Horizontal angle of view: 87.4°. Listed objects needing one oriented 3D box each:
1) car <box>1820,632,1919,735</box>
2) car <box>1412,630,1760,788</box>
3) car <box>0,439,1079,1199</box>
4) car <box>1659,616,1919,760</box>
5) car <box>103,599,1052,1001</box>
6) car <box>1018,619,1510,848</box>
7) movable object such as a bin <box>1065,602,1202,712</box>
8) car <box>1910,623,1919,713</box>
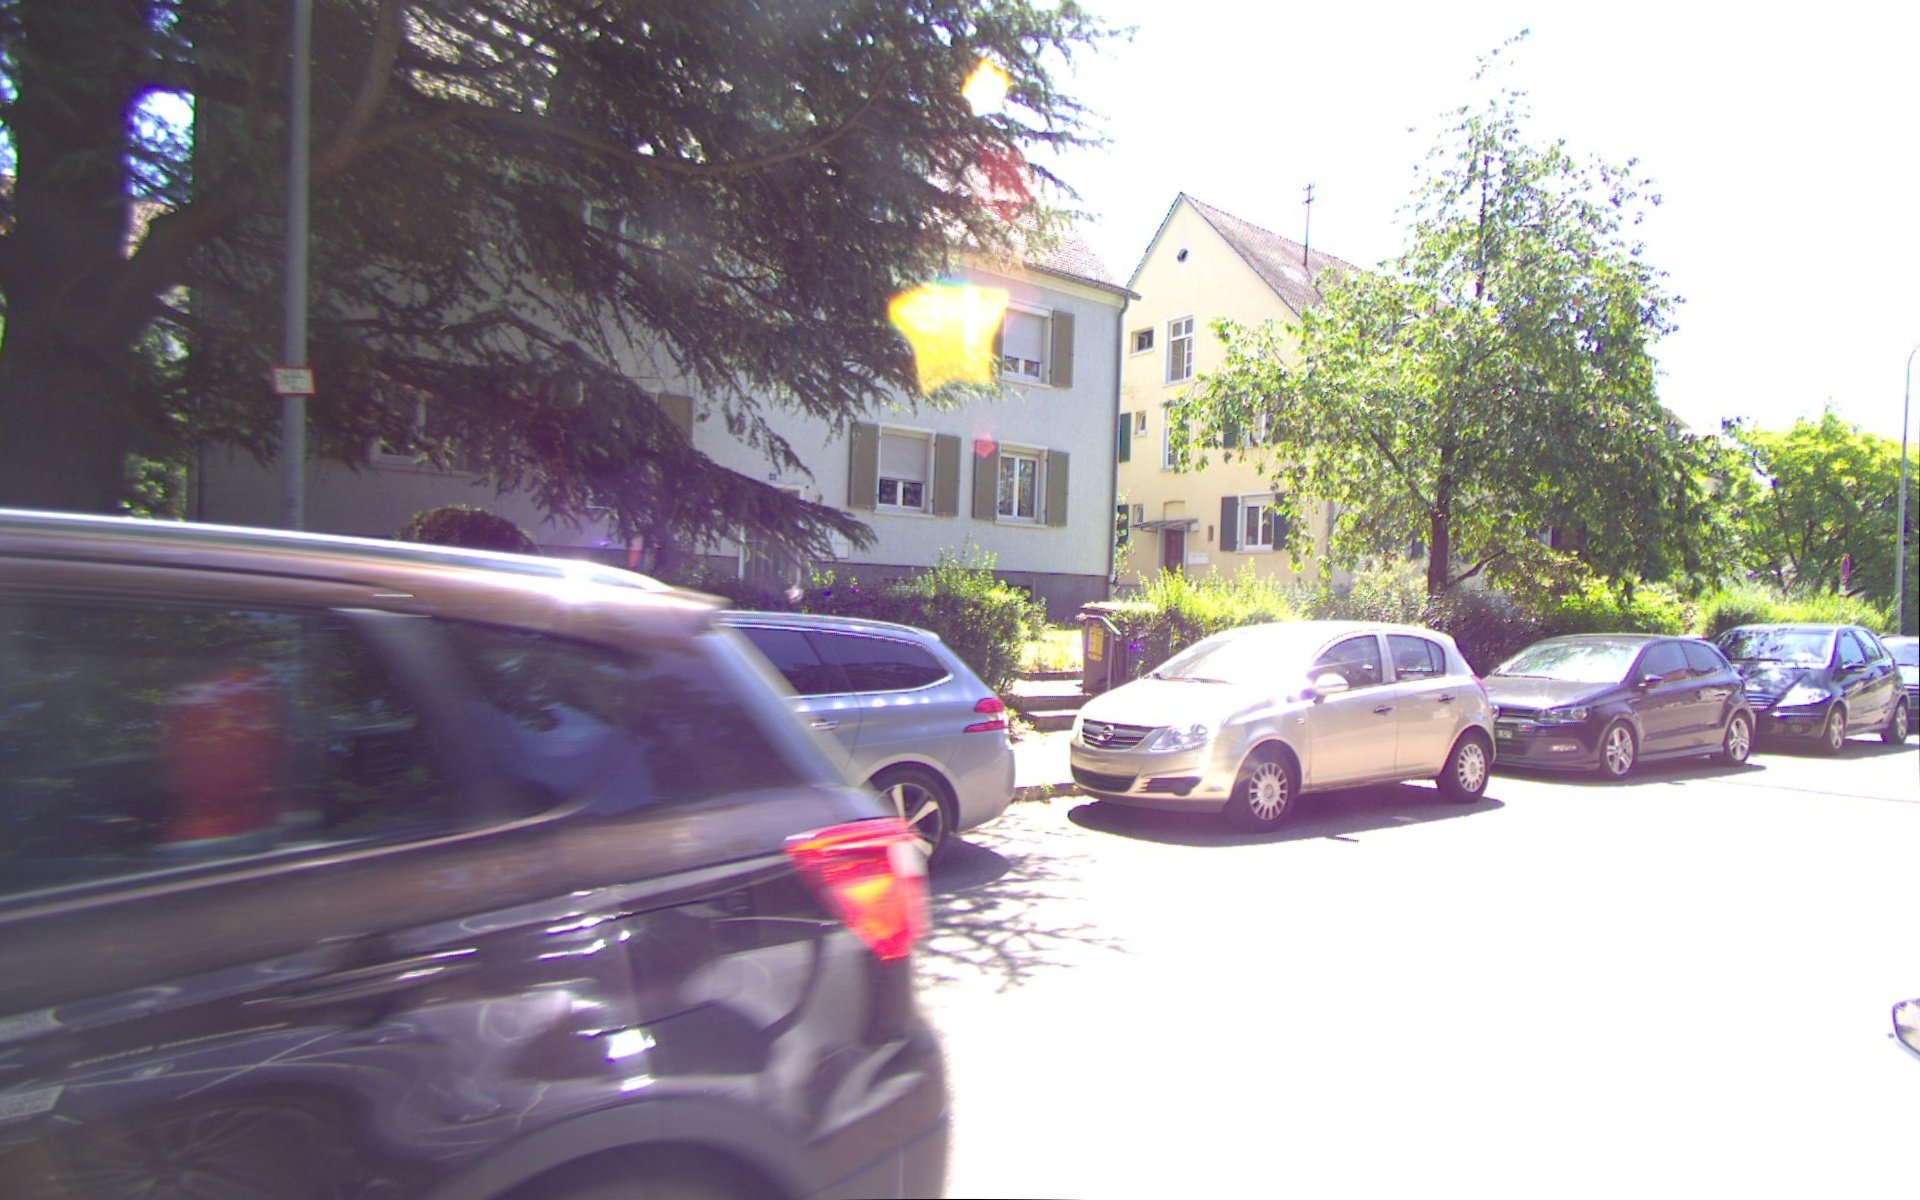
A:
[{"bbox_3d":[15.637,1.290,16.264,4.289,1.495,1.669,2,-2,-36],"label":"car"},{"bbox_3d":[6.802,1.060,10.848,3.746,1.419,1.673,2,-1,-31],"label":"car"},{"bbox_3d":[-2.023,0.616,1.458,4.096,1.595,1.888,2,-1,-33],"label":"car"},{"bbox_3d":[11.089,1.078,13.374,3.750,1.661,1.671,2,-1,-33],"label":"car"},{"bbox_3d":[-1.733,0.790,5.517,4.223,1.461,1.788,2,-1,-31],"label":"car"},{"bbox_3d":[2.517,0.916,8.167,3.741,1.461,1.788,2,-1,-31],"label":"car"},{"bbox_3d":[2.050,0.643,11.923,1.279,1.215,0.968,0,-1,43],"label":"movable object such as a bin"},{"bbox_3d":[19.968,1.310,19.357,4.289,1.658,1.669,2,-2,-36],"label":"car"}]
